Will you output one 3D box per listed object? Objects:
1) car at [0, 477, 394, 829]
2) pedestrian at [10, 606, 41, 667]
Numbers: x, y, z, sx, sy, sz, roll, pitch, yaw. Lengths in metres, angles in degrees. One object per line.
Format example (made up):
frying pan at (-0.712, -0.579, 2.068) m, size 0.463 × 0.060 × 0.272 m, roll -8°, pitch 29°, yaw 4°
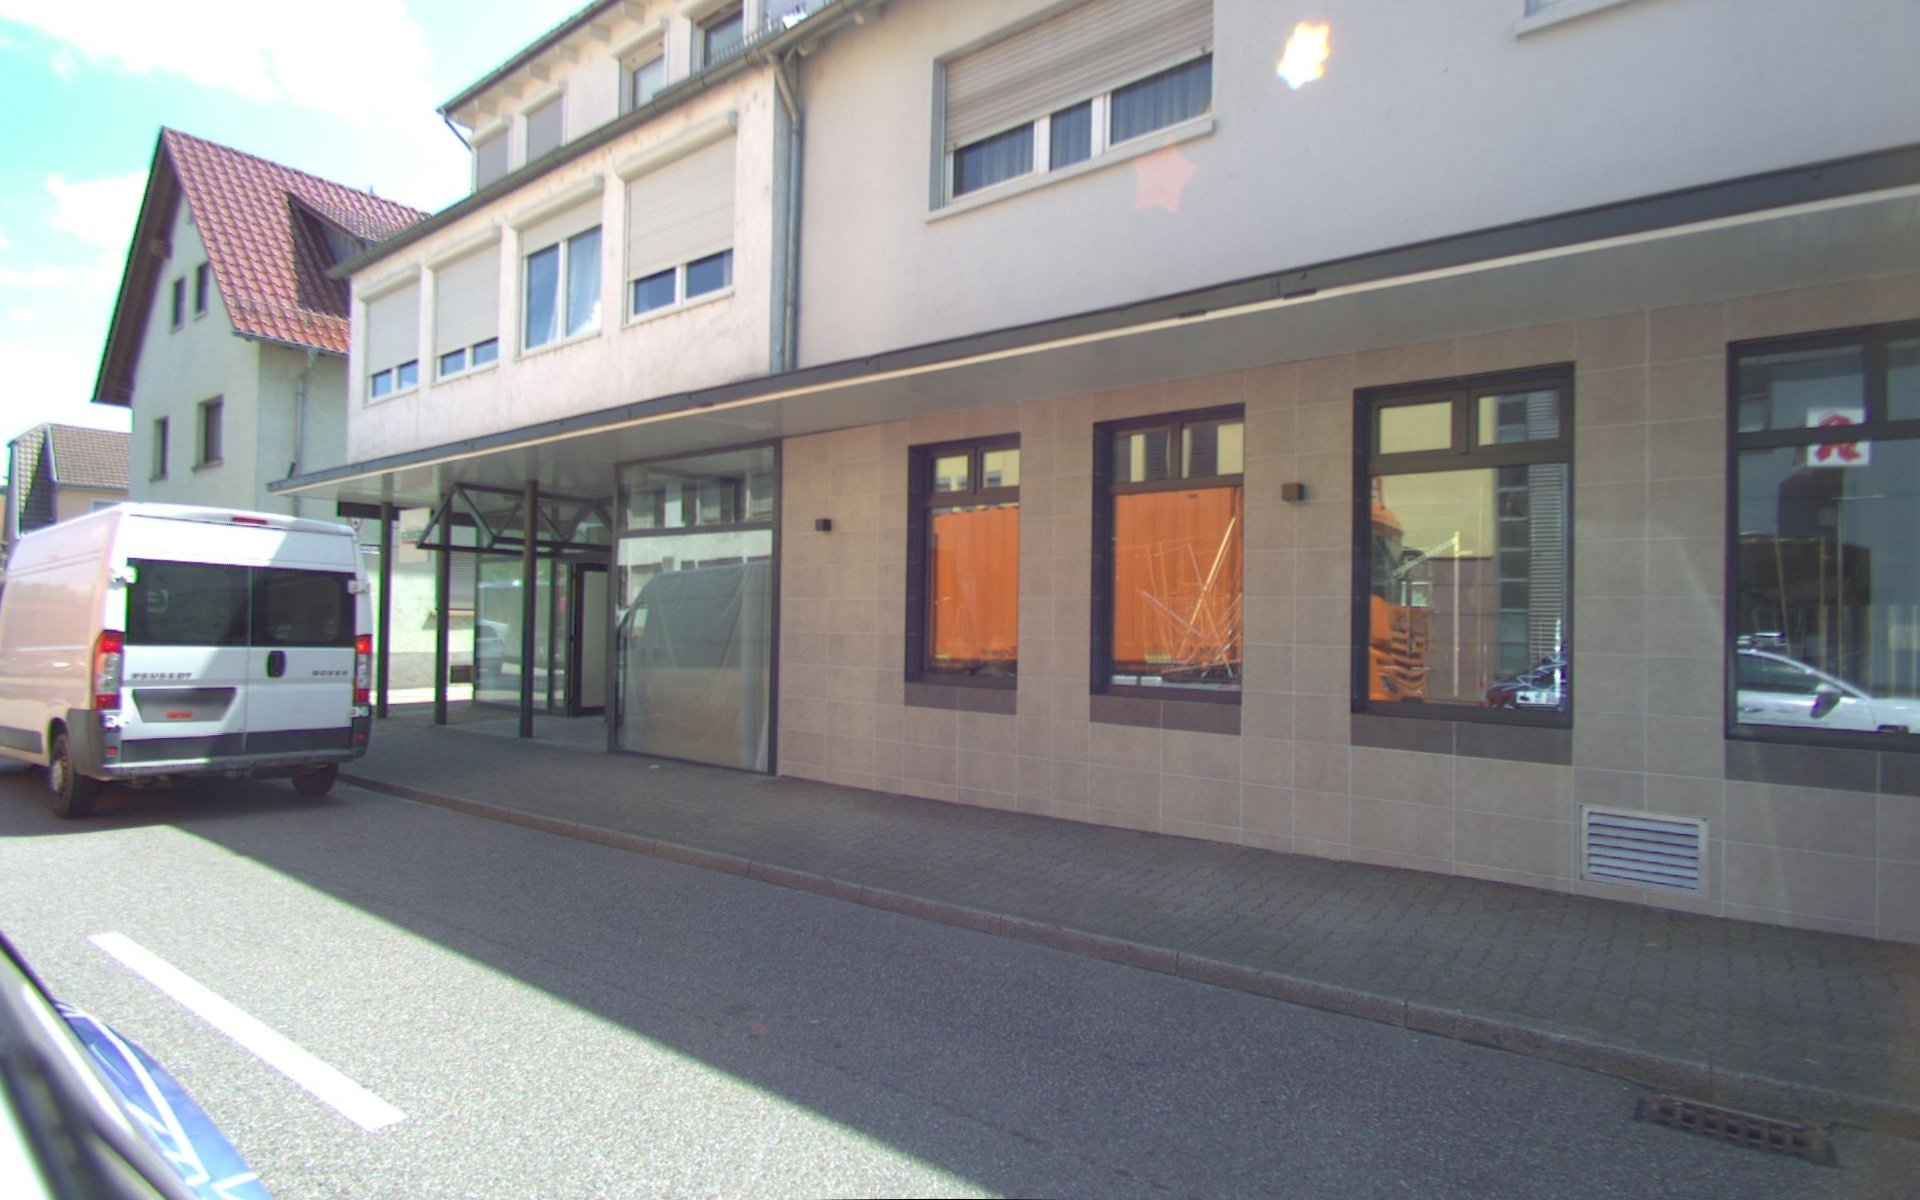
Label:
car at (-7.955, 0.477, 9.917) m, size 5.384 × 2.588 × 2.120 m, roll -1°, pitch -4°, yaw 37°
pedestrian at (-27.832, 1.078, 30.139) m, size 0.474 × 1.777 × 0.469 m, roll 0°, pitch -2°, yaw 15°
